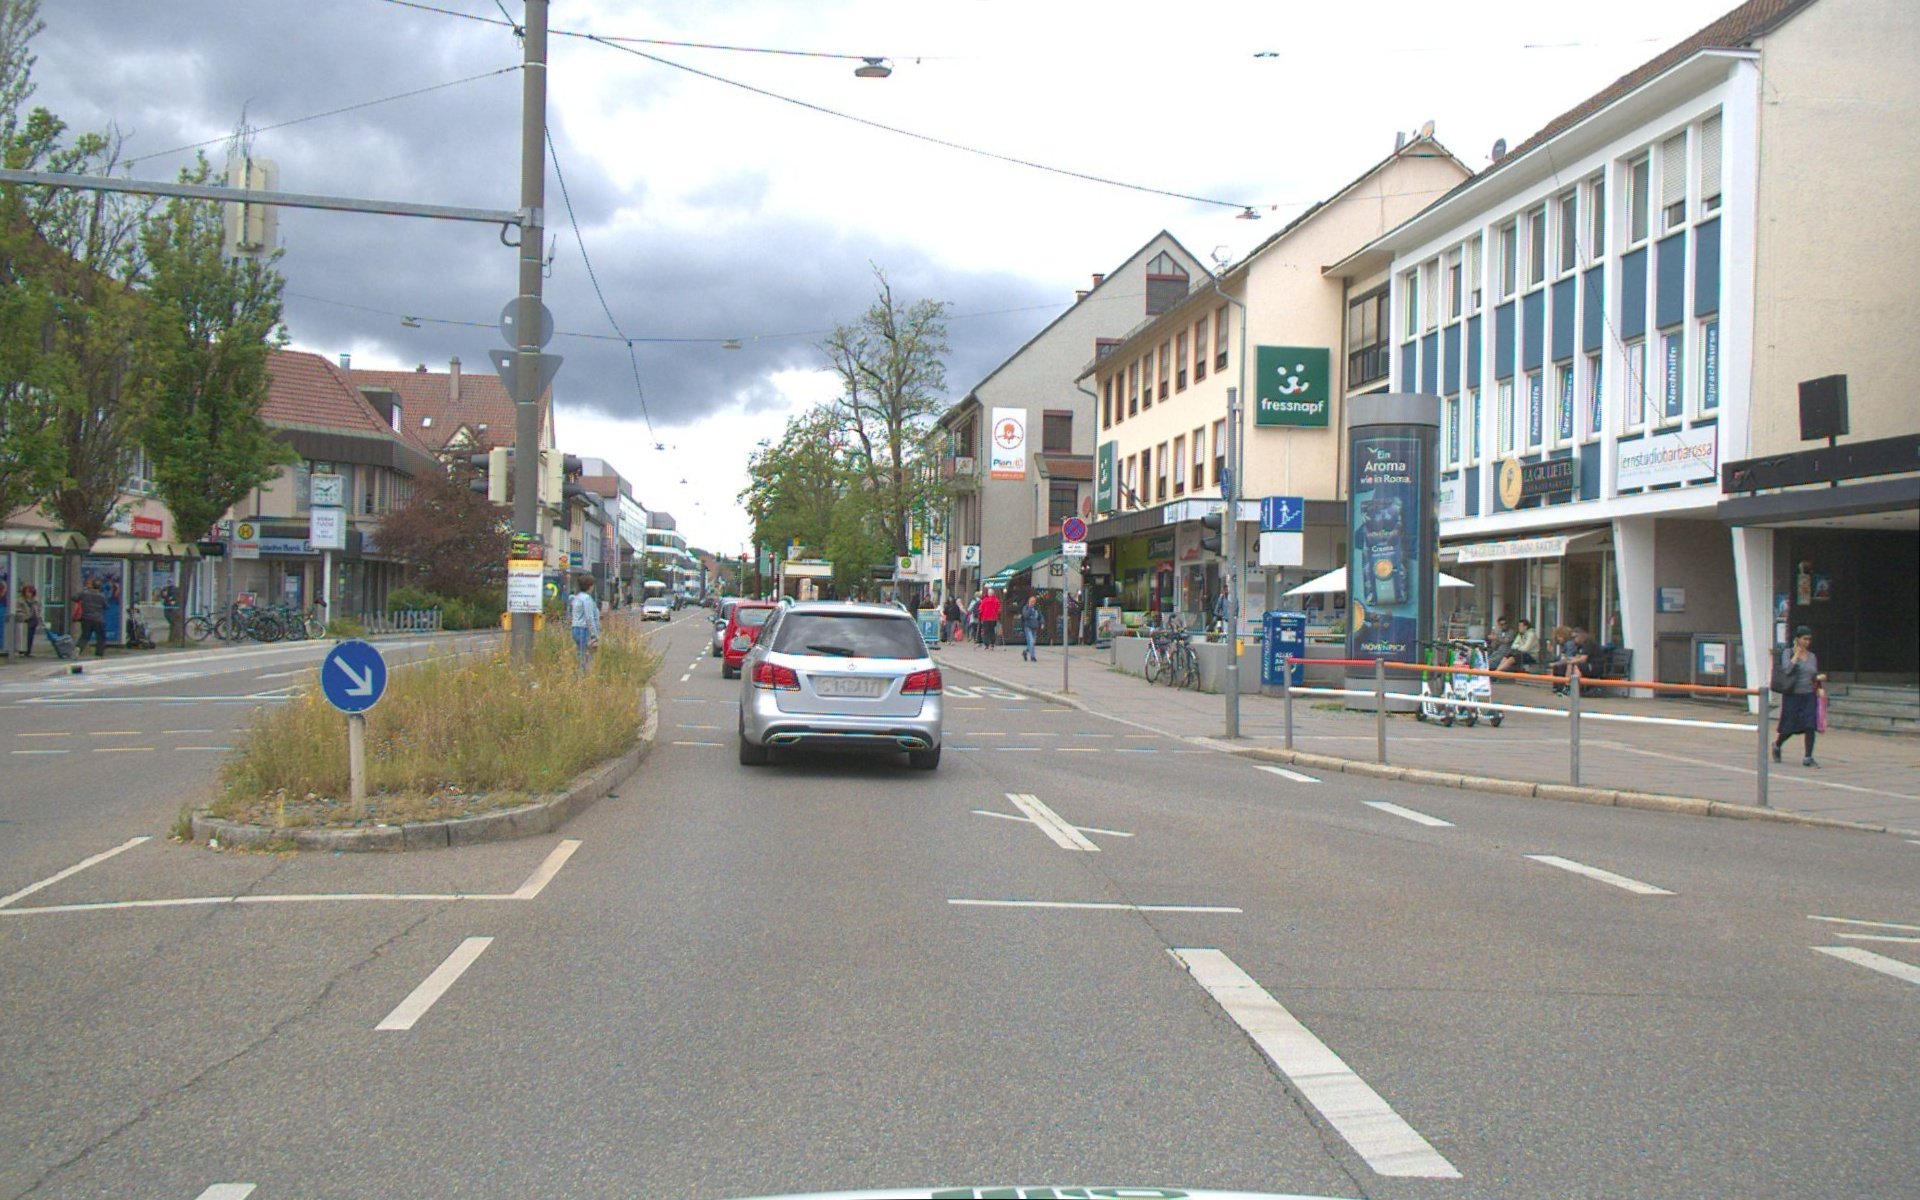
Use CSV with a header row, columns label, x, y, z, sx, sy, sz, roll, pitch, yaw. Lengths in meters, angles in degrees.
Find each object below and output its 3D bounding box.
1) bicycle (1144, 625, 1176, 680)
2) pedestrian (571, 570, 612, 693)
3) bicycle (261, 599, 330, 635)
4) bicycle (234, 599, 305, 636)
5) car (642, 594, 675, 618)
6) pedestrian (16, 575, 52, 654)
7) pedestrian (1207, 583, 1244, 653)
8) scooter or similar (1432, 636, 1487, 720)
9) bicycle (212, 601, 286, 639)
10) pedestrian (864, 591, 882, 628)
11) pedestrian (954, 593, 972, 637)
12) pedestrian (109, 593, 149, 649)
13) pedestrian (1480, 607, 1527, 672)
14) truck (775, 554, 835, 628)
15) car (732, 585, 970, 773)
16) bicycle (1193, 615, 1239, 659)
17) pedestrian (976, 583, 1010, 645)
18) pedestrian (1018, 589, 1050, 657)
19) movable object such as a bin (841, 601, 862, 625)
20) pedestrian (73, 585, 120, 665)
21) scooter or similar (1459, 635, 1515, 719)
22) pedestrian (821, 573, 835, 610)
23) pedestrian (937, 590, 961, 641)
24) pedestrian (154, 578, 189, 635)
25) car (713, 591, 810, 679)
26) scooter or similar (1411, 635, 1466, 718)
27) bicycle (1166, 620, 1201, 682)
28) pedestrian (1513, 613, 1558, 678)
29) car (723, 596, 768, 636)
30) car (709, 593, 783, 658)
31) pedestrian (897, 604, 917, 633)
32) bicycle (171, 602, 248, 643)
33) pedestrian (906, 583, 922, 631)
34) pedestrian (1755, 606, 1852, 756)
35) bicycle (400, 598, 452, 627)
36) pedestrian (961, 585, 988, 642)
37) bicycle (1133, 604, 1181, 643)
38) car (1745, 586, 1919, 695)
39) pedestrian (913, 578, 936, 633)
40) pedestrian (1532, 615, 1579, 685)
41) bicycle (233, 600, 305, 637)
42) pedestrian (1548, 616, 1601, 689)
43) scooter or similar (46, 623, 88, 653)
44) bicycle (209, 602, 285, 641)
label,x,y,z,sx,sy,sz,roll,pitch,yaw
bicycle,3.788,0.979,31.363,0.268,0.991,1.385,1,0,-7
pedestrian,-5.077,0.432,22.774,0.494,1.663,0.661,1,0,-14
bicycle,-21.367,0.545,53.184,1.986,1.109,0.646,1,0,-18
bicycle,-21.790,0.549,52.224,1.986,1.109,0.646,1,0,-18
car,-19.417,0.406,106.707,1.839,1.532,4.336,0,0,-8
pedestrian,-20.025,0.309,35.765,0.579,1.681,0.708,2,0,-26
pedestrian,6.379,0.428,39.691,0.653,1.663,0.799,1,0,-7
scooter or similar,7.303,1.129,24.201,0.308,1.152,1.206,1,0,-7
bicycle,-21.622,0.620,50.329,1.986,1.109,0.646,1,0,-18
pedestrian,-4.024,0.451,76.483,0.529,1.663,0.581,4,0,-32
pedestrian,0.124,0.584,63.636,0.575,1.663,0.614,1,0,-7
pedestrian,-21.167,0.523,42.130,0.698,1.388,0.587,2,0,-6
pedestrian,10.880,0.794,33.113,0.602,1.241,0.586,4,0,-10
truck,-8.246,-0.481,87.239,2.638,3.623,9.749,1,0,-8
car,-1.172,0.672,15.813,1.840,1.532,3.991,2,0,-10
bicycle,6.128,0.882,39.641,0.270,0.991,1.373,1,0,-30
pedestrian,0.949,0.421,47.946,0.781,1.772,0.779,-1,-1,-14
pedestrian,1.824,0.556,41.025,0.674,1.663,0.852,1,0,-5
movable object such as a bin,-6.176,0.725,93.871,1.121,1.363,1.374,1,0,-6
pedestrian,-18.430,0.522,35.313,0.574,1.681,0.714,2,0,2
scooter or similar,7.705,1.111,24.216,0.308,1.152,1.206,1,0,-7
pedestrian,-6.544,-0.426,81.839,0.602,1.811,0.586,1,-1,-11
pedestrian,-0.375,0.514,54.853,0.706,1.663,0.613,0,-1,-11
pedestrian,-25.425,0.207,53.346,0.712,1.794,0.753,4,0,-10
car,-3.956,0.668,32.788,1.721,1.547,3.993,3,-1,-8
scooter or similar,6.970,1.103,24.122,0.308,1.152,1.206,1,0,-7
bicycle,4.037,0.912,29.894,0.268,1.071,1.385,1,0,-7
pedestrian,11.292,0.894,32.464,0.602,1.241,0.586,2,0,-10
car,-9.703,0.713,74.863,1.956,1.713,3.993,1,0,-7
car,-6.047,0.697,46.846,1.956,1.713,3.993,1,0,-7
pedestrian,-2.256,0.781,70.534,0.700,1.186,0.586,2,0,-15
bicycle,-21.896,0.656,48.288,1.989,1.109,0.645,2,-1,-22
pedestrian,-2.044,0.316,73.209,0.600,2.083,0.588,-1,-1,5
pedestrian,9.670,0.922,18.972,0.582,1.650,0.734,4,0,-39
bicycle,-21.544,0.502,66.743,1.986,1.109,0.646,1,0,-18
pedestrian,0.450,0.425,51.961,0.670,1.772,0.779,-1,-1,-13
bicycle,5.624,0.654,47.326,0.727,1.081,2.346,0,0,-9
car,15.506,0.685,27.722,3.888,1.695,1.734,2,0,-5
pedestrian,-1.136,0.172,52.964,0.600,1.707,0.614,4,0,-6
pedestrian,10.873,0.907,30.221,0.602,1.241,0.586,0,0,-10
bicycle,-21.522,0.586,51.562,1.986,1.109,0.646,1,0,-18
pedestrian,11.000,0.941,29.605,0.602,1.241,0.586,4,0,-10
scooter or similar,-19.549,0.827,36.222,0.581,0.612,0.701,1,0,-9
bicycle,-21.246,0.633,49.321,1.983,1.109,0.647,1,0,-13
